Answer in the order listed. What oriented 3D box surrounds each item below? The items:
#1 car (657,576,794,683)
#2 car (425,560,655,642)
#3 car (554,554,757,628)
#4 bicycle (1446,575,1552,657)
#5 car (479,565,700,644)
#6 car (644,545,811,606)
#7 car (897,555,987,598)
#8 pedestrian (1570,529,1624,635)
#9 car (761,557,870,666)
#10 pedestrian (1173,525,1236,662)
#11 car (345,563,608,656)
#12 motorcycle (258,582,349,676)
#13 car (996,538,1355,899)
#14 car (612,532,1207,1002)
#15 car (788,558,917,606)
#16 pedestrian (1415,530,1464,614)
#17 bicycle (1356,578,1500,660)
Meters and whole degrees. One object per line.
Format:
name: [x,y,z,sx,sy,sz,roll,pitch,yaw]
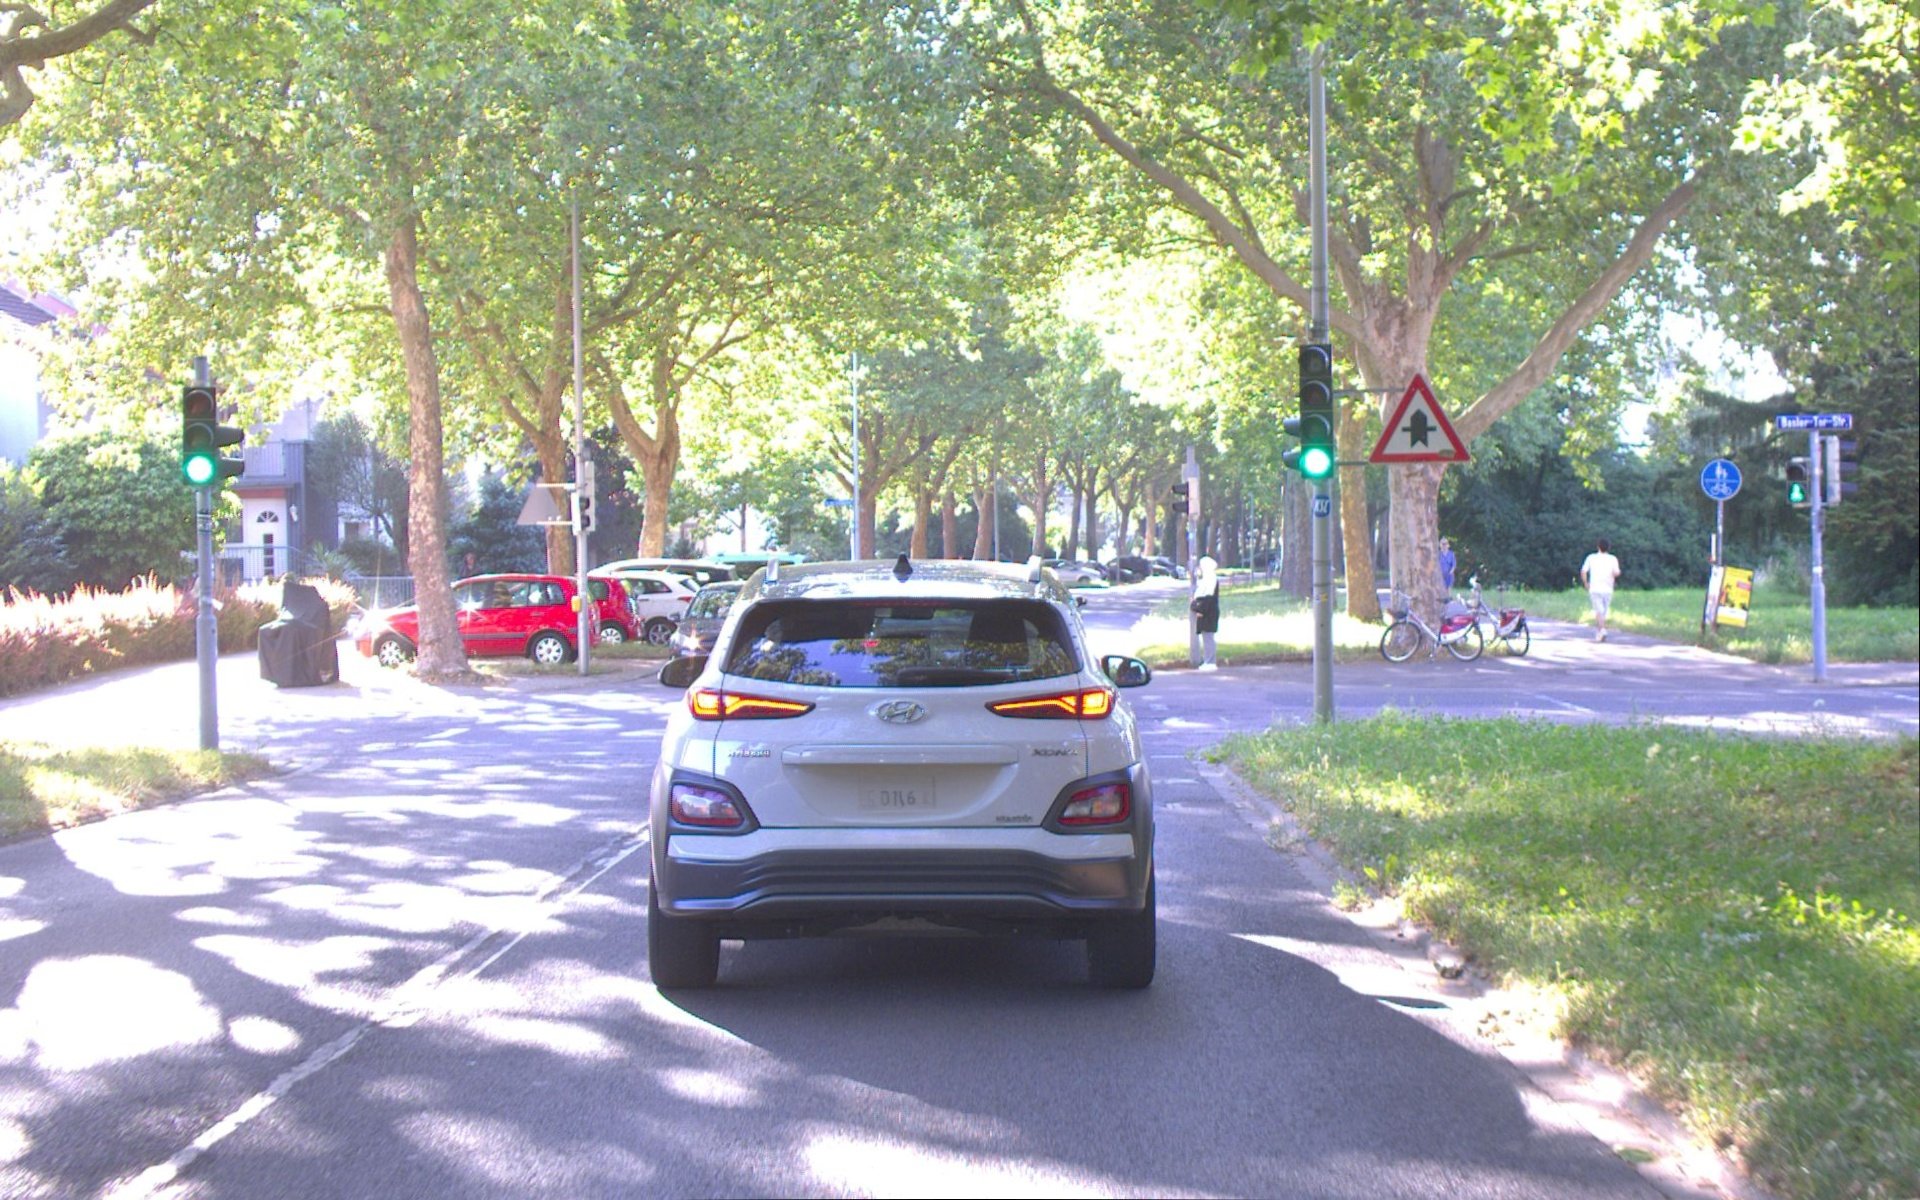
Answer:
car: [-3.353,0.392,49.711,1.688,1.432,3.682,0,1,1]
car: [-7.757,0.017,63.725,3.987,1.473,2.000,0,0,1]
car: [-6.261,-0.181,71.129,3.987,1.473,2.000,0,0,1]
bicycle: [7.876,0.225,50.326,0.603,1.179,2.119,0,0,-19]
car: [-7.076,0.081,65.988,3.987,1.473,2.000,0,0,1]
car: [-5.787,-0.610,85.811,3.987,1.473,2.000,0,0,1]
car: [-0.788,-1.012,147.640,3.668,1.802,1.749,0,1,-9]
pedestrian: [10.516,-0.301,56.786,0.834,1.730,0.885,0,0,9]
car: [-2.551,0.203,61.495,1.791,1.875,4.000,0,0,0]
pedestrian: [3.639,-0.095,51.110,0.868,2.007,0.813,0,0,9]
car: [-7.858,0.154,56.159,3.987,1.473,2.000,0,0,1]
motorcycle: [-9.853,0.427,51.708,0.846,1.374,2.776,0,0,0]
car: [1.234,0.664,21.271,1.993,2.007,4.000,0,0,1]
car: [-0.181,0.557,13.579,1.993,1.569,4.000,0,0,0]
car: [-3.413,-0.576,109.579,3.987,1.473,2.000,0,0,1]
pedestrian: [11.634,-0.680,83.469,1.095,2.007,1.105,-2,0,7]
bicycle: [6.735,0.272,49.584,0.603,1.160,2.149,1,0,-43]
